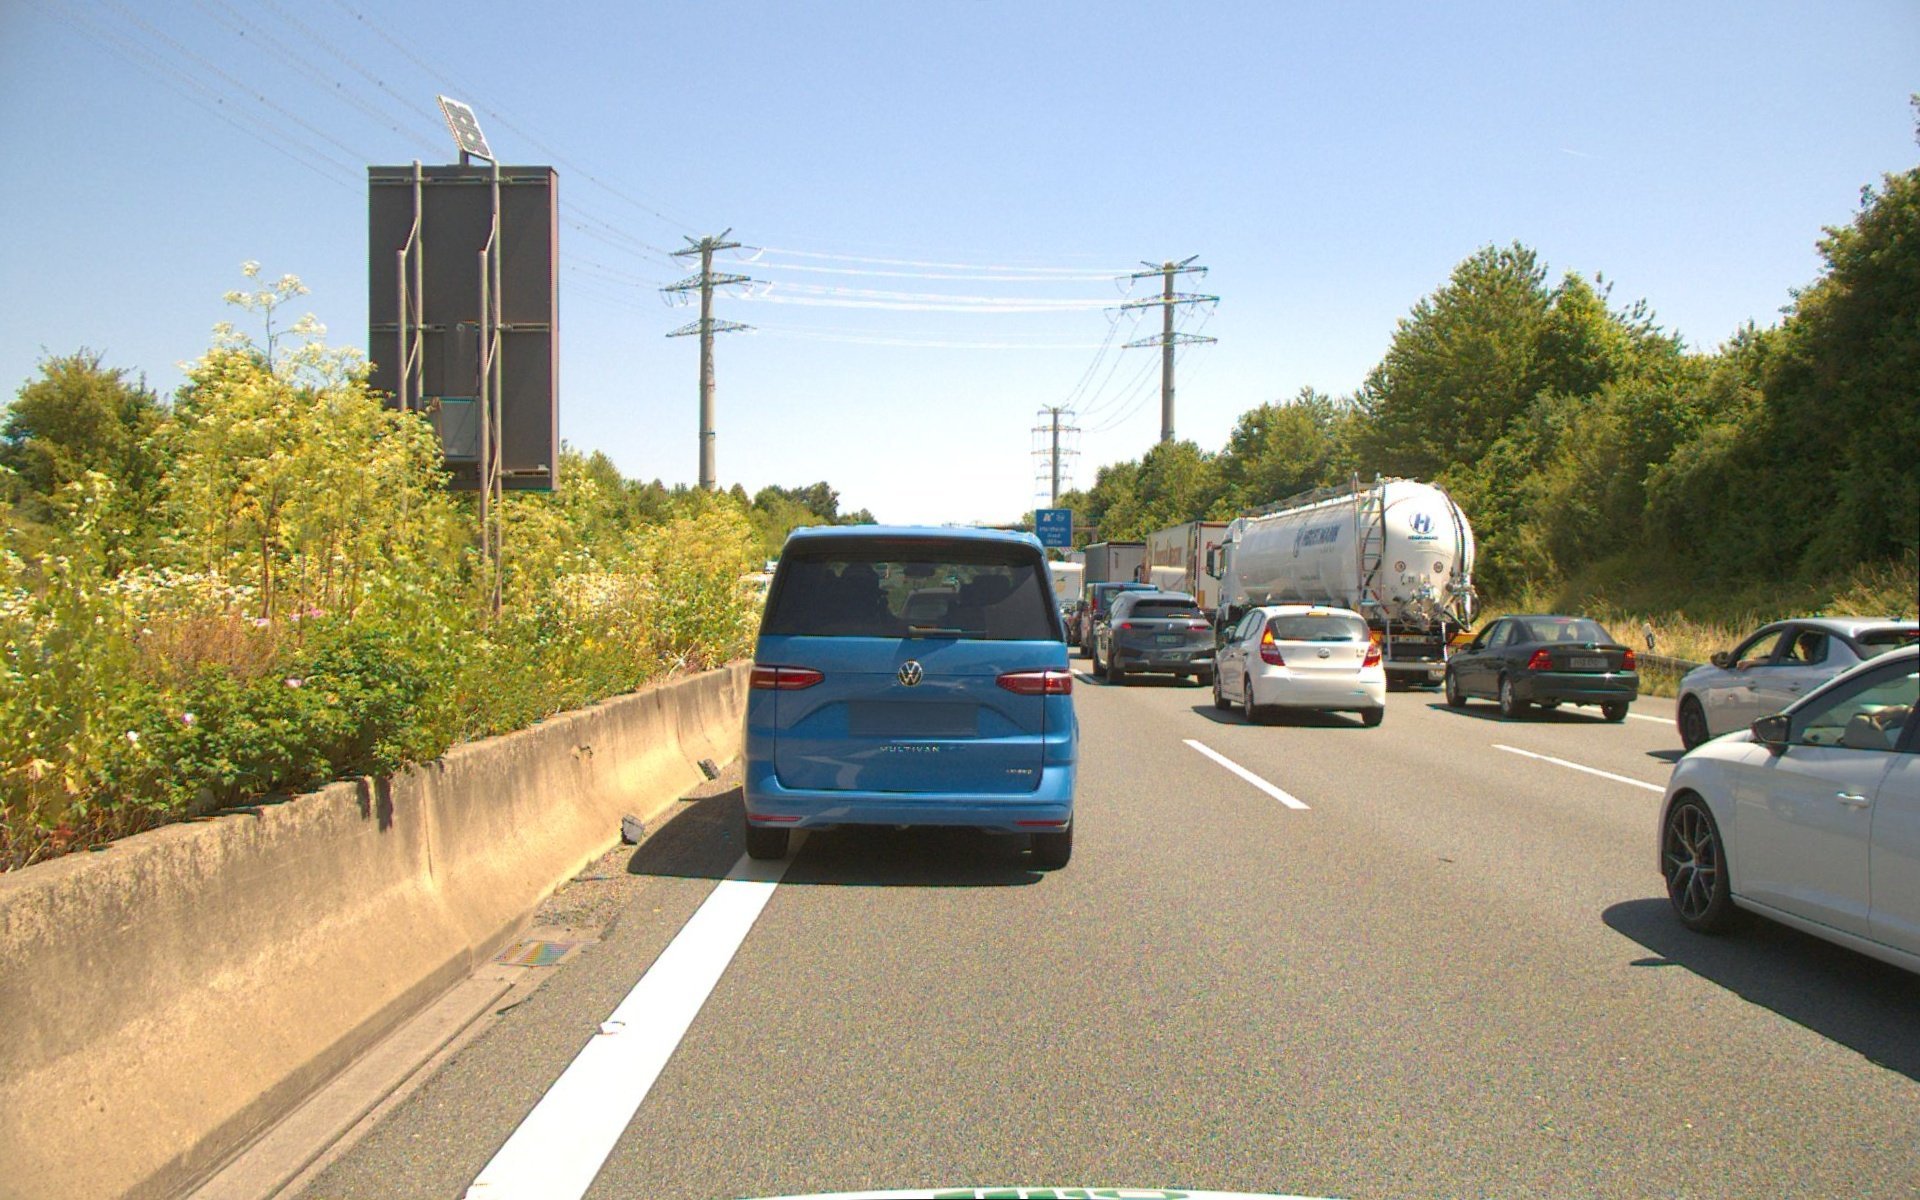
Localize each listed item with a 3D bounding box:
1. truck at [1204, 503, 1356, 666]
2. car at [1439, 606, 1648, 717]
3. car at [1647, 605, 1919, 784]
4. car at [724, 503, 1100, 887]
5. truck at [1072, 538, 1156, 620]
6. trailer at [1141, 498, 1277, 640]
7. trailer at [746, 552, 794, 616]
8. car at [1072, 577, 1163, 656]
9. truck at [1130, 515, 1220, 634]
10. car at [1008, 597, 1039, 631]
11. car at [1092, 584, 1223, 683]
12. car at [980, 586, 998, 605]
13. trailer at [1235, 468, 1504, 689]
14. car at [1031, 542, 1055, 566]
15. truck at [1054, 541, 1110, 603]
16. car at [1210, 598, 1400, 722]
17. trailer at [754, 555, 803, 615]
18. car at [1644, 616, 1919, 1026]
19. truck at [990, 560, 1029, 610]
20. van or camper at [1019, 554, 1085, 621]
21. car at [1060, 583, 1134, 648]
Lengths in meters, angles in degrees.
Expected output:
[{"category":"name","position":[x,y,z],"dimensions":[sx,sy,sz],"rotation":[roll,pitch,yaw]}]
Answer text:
[{"category":"truck","position":[8.083,-0.370,42.416],"dimensions":[2.736,3.904,5.571],"rotation":[0,0,-1]},{"category":"car","position":[8.308,0.840,23.909],"dimensions":[1.607,1.441,3.988],"rotation":[-1,-1,0]},{"category":"car","position":[8.385,0.807,16.083],"dimensions":[1.695,1.468,4.028],"rotation":[0,1,-1]},{"category":"car","position":[-0.254,0.479,10.456],"dimensions":[1.881,1.919,4.000],"rotation":[1,0,0]},{"category":"truck","position":[7.680,-0.926,84.630],"dimensions":[2.944,3.832,15.712],"rotation":[0,0,0]},{"category":"trailer","position":[8.602,-0.984,58.821],"dimensions":[2.853,4.547,12.151],"rotation":[0,0,-1]},{"category":"trailer","position":[-15.798,-1.263,137.712],"dimensions":[3.254,5.136,6.703],"rotation":[0,0,0]},{"category":"car","position":[4.151,0.451,44.087],"dimensions":[1.884,1.959,4.234],"rotation":[-1,-1,-1]},{"category":"truck","position":[8.510,-0.987,66.017],"dimensions":[2.853,4.547,5.141],"rotation":[0,0,-1]},{"category":"car","position":[3.941,0.883,103.115],"dimensions":[1.798,2.033,4.000],"rotation":[-1,-1,1]},{"category":"car","position":[3.678,0.617,31.583],"dimensions":[1.958,1.745,4.625],"rotation":[0,-1,0]},{"category":"car","position":[3.431,-0.520,197.827],"dimensions":[1.953,2.163,3.999],"rotation":[0,0,-1]},{"category":"trailer","position":[8.246,-0.378,35.189],"dimensions":[2.705,3.912,11.484],"rotation":[0,0,-1]},{"category":"car","position":[7.604,-4.213,152.233],"dimensions":[1.953,2.049,4.000],"rotation":[0,0,0]},{"category":"truck","position":[7.974,-1.731,109.952],"dimensions":[2.836,3.832,13.344],"rotation":[0,0,0]},{"category":"car","position":[4.529,0.758,22.275],"dimensions":[1.779,1.511,4.000],"rotation":[0,-1,1]},{"category":"trailer","position":[-15.835,-1.241,144.989],"dimensions":[3.254,5.136,9.590],"rotation":[0,0,0]},{"category":"car","position":[4.295,0.792,6.173],"dimensions":[1.712,1.468,4.313],"rotation":[0,-1,0]},{"category":"truck","position":[3.923,-1.142,133.010],"dimensions":[2.836,3.832,10.140],"rotation":[0,0,0]},{"category":"van or camper","position":[4.382,-0.532,79.801],"dimensions":[2.896,3.075,7.103],"rotation":[0,0,1]},{"category":"car","position":[4.334,0.509,52.983],"dimensions":[1.884,1.959,4.234],"rotation":[-1,-1,-1]}]
